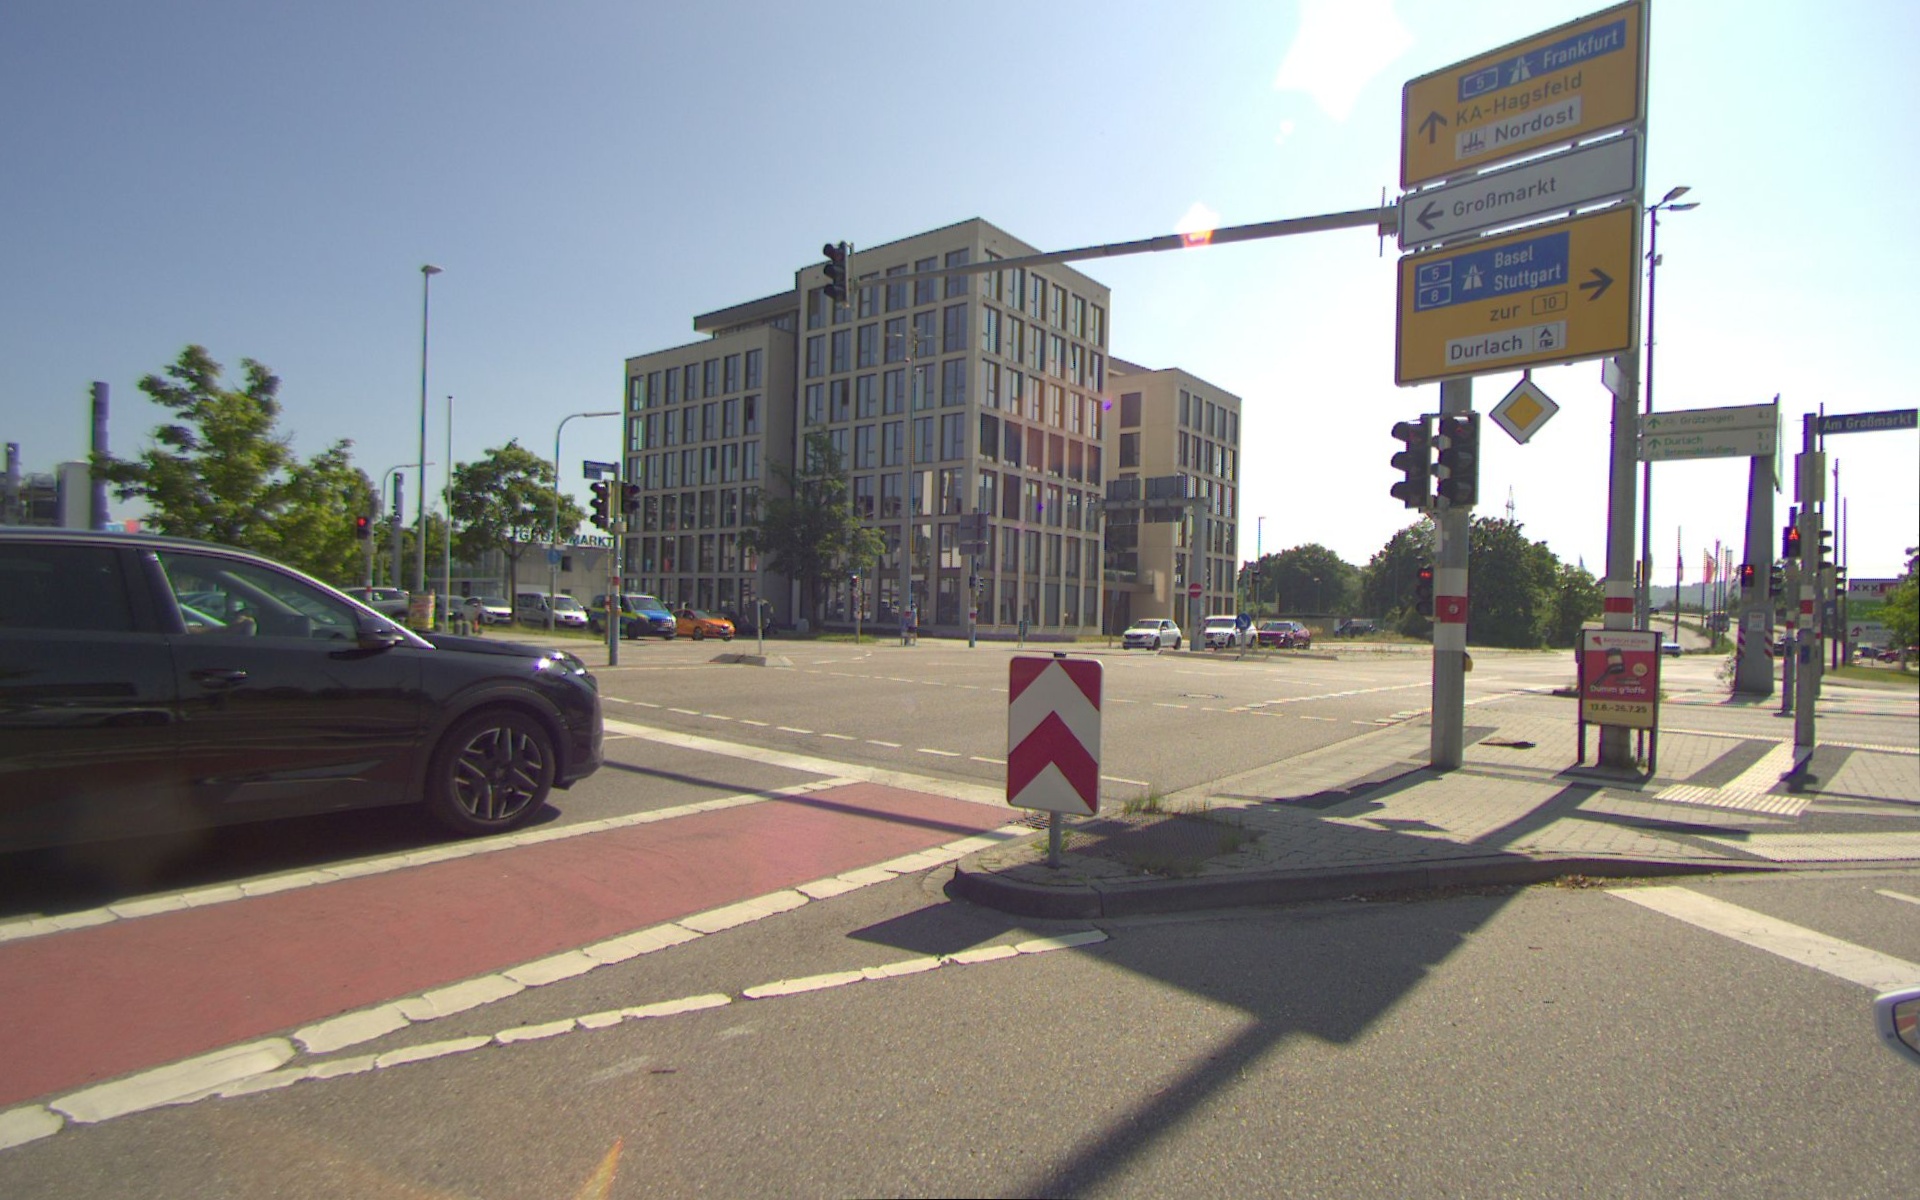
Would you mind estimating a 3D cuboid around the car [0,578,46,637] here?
[{"bbox_3d":[-23.849,0.140,22.824,1.793,1.367,4.334,0,-2,38],"label":"car"}]

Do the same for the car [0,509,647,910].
[{"bbox_3d":[-4.087,0.438,5.300,1.689,1.649,4.484,2,1,38],"label":"car"}]

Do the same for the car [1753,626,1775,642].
[{"bbox_3d":[106.097,4.479,132.554,2.162,2.040,3.981,2,0,40],"label":"car"}]

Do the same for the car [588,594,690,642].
[{"bbox_3d":[-13.667,0.747,42.619,4.666,1.934,2.174,0,-2,45],"label":"car"}]

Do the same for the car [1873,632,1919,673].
[{"bbox_3d":[57.017,3.151,61.137,1.972,2.327,4.008,2,0,44],"label":"car"}]

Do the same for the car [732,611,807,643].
[{"bbox_3d":[-11.551,1.648,60.972,3.962,1.761,1.980,3,-1,-36],"label":"car"}]

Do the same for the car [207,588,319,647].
[{"bbox_3d":[-19.242,0.447,27.662,1.876,1.480,3.947,2,0,-44],"label":"car"}]

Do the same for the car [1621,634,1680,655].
[{"bbox_3d":[56.641,3.625,82.400,3.934,1.643,2.015,0,-1,35],"label":"car"}]

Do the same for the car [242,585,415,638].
[{"bbox_3d":[-20.703,0.423,33.070,1.951,1.608,4.460,0,-2,41],"label":"car"}]

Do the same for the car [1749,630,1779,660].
[{"bbox_3d":[58.098,3.223,72.593,1.612,2.040,3.981,0,-1,40],"label":"car"}]

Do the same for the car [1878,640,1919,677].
[{"bbox_3d":[48.449,2.947,50.050,3.942,1.757,1.990,2,0,42],"label":"car"}]

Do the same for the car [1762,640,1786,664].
[{"bbox_3d":[72.025,4.595,88.873,1.561,2.040,3.981,0,-1,40],"label":"car"}]

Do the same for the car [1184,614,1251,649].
[{"bbox_3d":[13.547,1.667,52.673,1.874,1.734,4.215,0,-1,38],"label":"car"}]

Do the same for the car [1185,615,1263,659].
[{"bbox_3d":[12.094,1.667,45.777,1.994,1.862,4.297,2,0,36],"label":"car"}]

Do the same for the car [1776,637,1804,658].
[{"bbox_3d":[85.674,4.856,103.731,2.162,2.040,3.981,2,0,40],"label":"car"}]

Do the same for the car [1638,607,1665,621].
[{"bbox_3d":[125.278,2.516,181.935,1.860,2.267,3.762,2,1,-45],"label":"car"}]

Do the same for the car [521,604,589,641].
[{"bbox_3d":[-18.849,1.020,46.669,1.656,1.577,3.806,2,0,-43],"label":"car"}]

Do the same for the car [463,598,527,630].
[{"bbox_3d":[-24.008,0.730,51.759,1.901,1.513,3.816,2,0,-43],"label":"car"}]

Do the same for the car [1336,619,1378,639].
[{"bbox_3d":[52.445,3.799,132.877,4.947,2.365,2.001,2,0,15],"label":"car"}]

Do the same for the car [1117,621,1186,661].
[{"bbox_3d":[8.929,1.872,46.661,1.804,1.735,3.755,2,0,34],"label":"car"}]

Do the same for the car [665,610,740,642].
[{"bbox_3d":[-11.514,1.148,44.749,1.727,1.382,3.819,2,-2,-41],"label":"car"}]

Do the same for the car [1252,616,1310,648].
[{"bbox_3d":[16.432,1.634,51.297,1.507,1.548,4.104,0,-1,38],"label":"car"}]
